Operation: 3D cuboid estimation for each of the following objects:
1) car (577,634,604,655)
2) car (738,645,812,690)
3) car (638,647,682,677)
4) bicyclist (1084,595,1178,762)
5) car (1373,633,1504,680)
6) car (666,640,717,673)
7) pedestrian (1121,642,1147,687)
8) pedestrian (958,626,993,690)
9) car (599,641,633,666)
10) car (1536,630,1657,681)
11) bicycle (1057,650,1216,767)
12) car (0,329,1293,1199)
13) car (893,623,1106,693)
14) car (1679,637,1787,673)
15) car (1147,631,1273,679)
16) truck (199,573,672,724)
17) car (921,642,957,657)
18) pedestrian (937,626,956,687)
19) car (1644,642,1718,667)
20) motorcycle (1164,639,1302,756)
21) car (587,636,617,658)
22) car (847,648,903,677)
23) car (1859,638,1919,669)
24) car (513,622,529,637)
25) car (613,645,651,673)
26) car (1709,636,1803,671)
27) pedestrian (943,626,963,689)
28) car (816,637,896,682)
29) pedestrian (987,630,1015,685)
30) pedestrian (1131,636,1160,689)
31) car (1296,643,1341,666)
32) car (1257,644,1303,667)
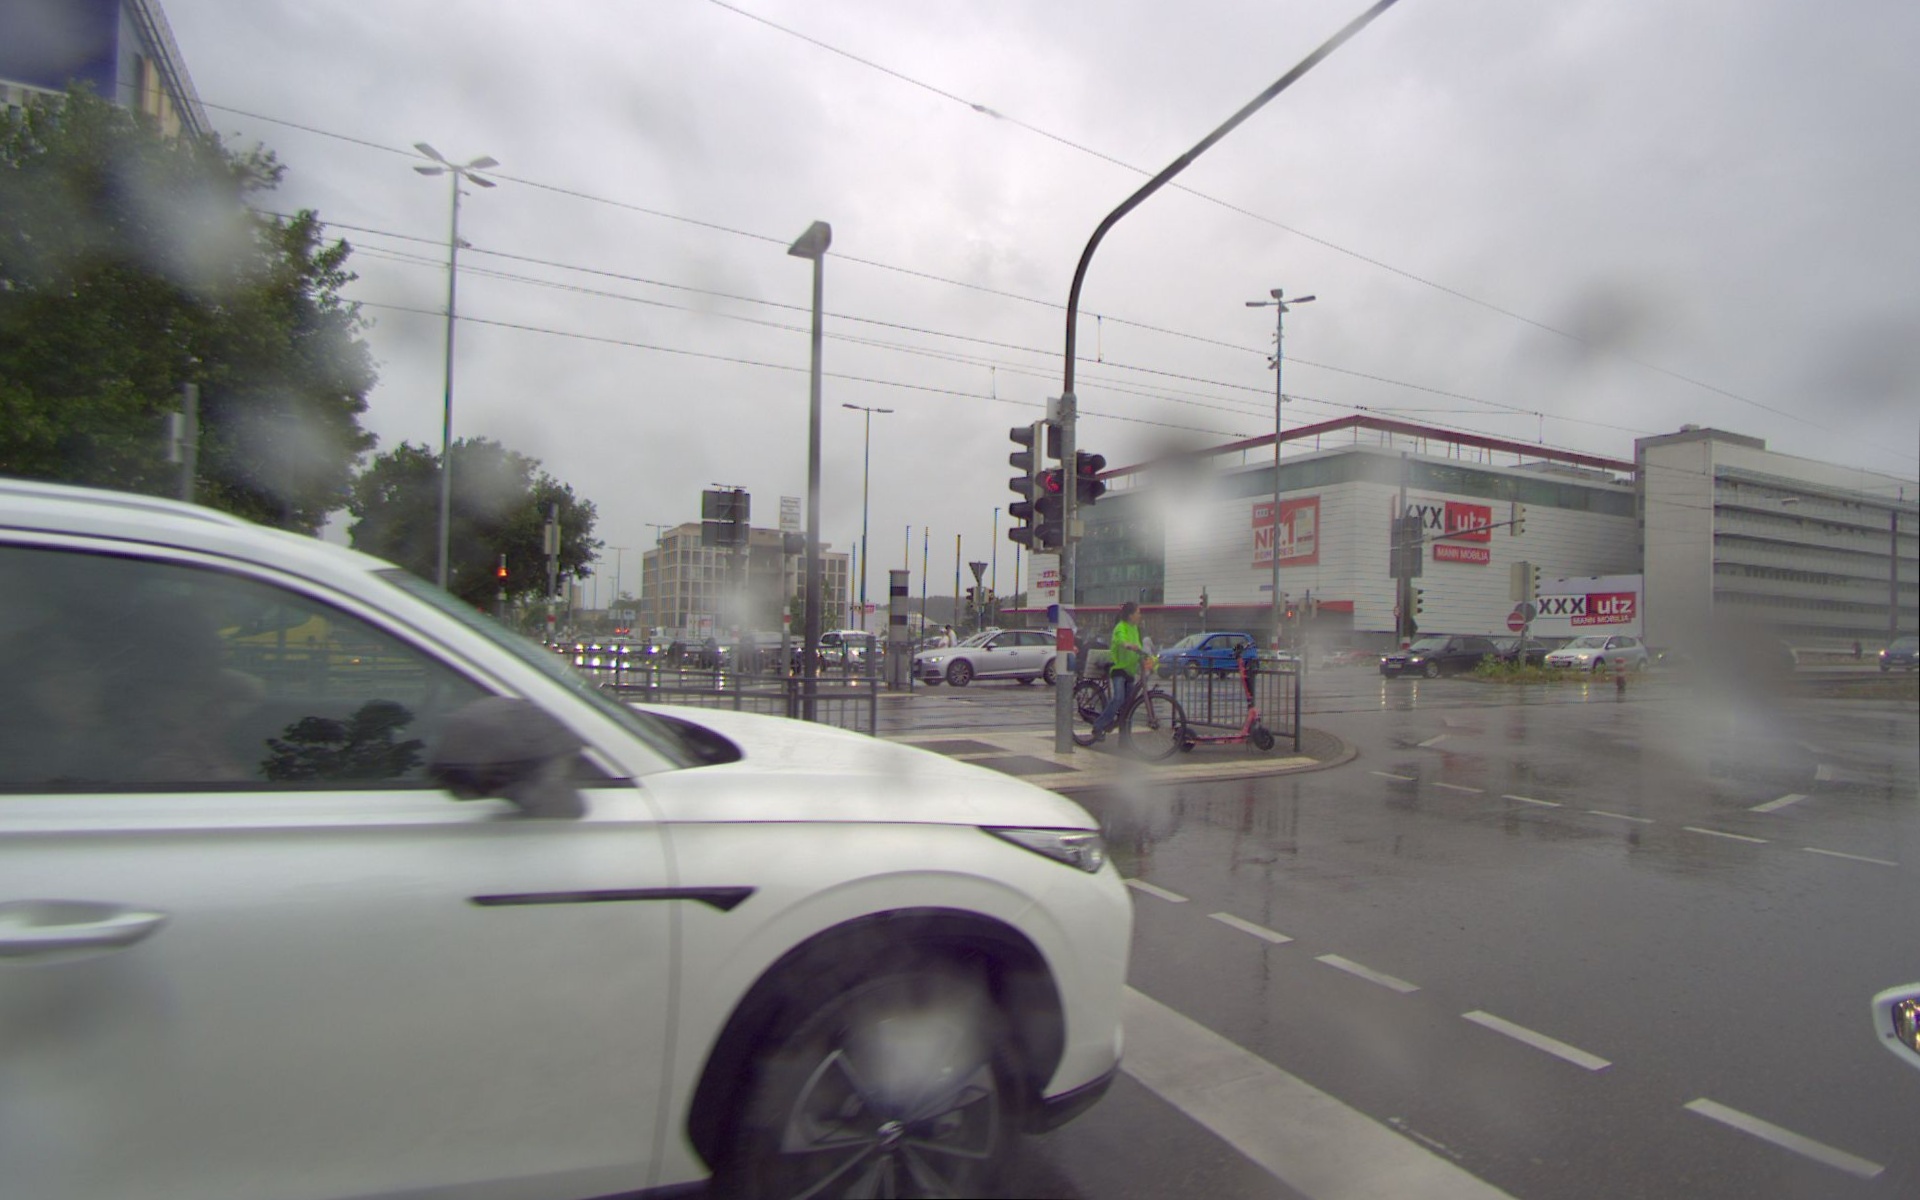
[{"bbox_3d":[-33.516,4.027,91.110,1.796,1.562,4.259,-1,2,-27],"label":"car"},{"bbox_3d":[-7.451,2.633,40.069,1.796,1.561,4.260,0,-1,-27],"label":"car"},{"bbox_3d":[-17.854,3.634,59.581,1.796,1.561,4.260,0,-1,-27],"label":"car"},{"bbox_3d":[1.882,0.836,11.093,0.784,1.755,0.613,0,2,-32],"label":"bicyclist"},{"bbox_3d":[15.659,1.815,32.837,4.143,1.385,1.577,1,1,-25],"label":"car"},{"bbox_3d":[-14.110,2.942,52.665,1.796,1.561,4.260,0,-1,-27],"label":"car"},{"bbox_3d":[7.267,2.676,41.935,0.761,1.842,0.708,2,0,-36],"label":"pedestrian"},{"bbox_3d":[0.579,2.155,37.430,0.973,2.274,0.918,4,0,-16],"label":"pedestrian"},{"bbox_3d":[-25.526,3.907,74.408,1.796,1.561,4.259,0,1,-27],"label":"car"},{"bbox_3d":[23.423,1.994,36.950,4.369,1.731,1.706,1,1,-26],"label":"car"},{"bbox_3d":[1.877,1.129,10.967,0.662,1.022,1.856,0,1,-30],"label":"bicycle"},{"bbox_3d":[-1.599,0.538,2.300,4.499,1.812,1.979,2,0,-30],"label":"car"},{"bbox_3d":[1.066,1.430,26.237,5.293,1.588,1.986,1,1,-27],"label":"car"},{"bbox_3d":[30.661,2.164,39.845,3.991,1.266,1.707,1,1,-24],"label":"car"},{"bbox_3d":[8.168,1.757,32.810,3.862,1.433,1.577,1,1,-26],"label":"car"},{"bbox_3d":[-11.495,1.175,23.075,8.973,2.886,2.732,4,-1,-25],"label":"truck"},{"bbox_3d":[-2.514,5.928,120.649,3.959,1.582,1.751,2,0,-29],"label":"car"},{"bbox_3d":[-0.465,1.958,34.919,0.615,2.041,0.695,1,1,2],"label":"pedestrian"},{"bbox_3d":[41.566,3.112,57.877,3.991,1.266,1.707,1,1,-24],"label":"car"},{"bbox_3d":[3.033,1.071,11.198,1.376,1.238,0.527,1,1,-9],"label":"motorcycle"},{"bbox_3d":[-29.566,3.817,82.875,1.796,1.561,4.259,0,1,-27],"label":"car"},{"bbox_3d":[-5.201,3.771,60.868,2.010,1.425,4.194,2,0,-26],"label":"car"},{"bbox_3d":[45.213,2.542,48.219,4.406,1.266,1.705,1,1,-29],"label":"car"},{"bbox_3d":[-67.430,4.545,154.368,1.975,2.040,3.972,2,0,-27],"label":"car"},{"bbox_3d":[-22.212,3.978,67.967,1.796,1.561,4.259,0,1,-27],"label":"car"},{"bbox_3d":[38.212,2.530,48.193,4.653,1.455,1.805,1,1,-28],"label":"car"},{"bbox_3d":[-0.238,2.016,35.524,0.620,2.164,0.571,1,1,3],"label":"pedestrian"},{"bbox_3d":[-4.322,2.379,41.149,1.796,1.561,4.433,0,0,-27],"label":"car"},{"bbox_3d":[1.552,2.184,38.473,0.843,2.040,0.783,2,0,-12],"label":"pedestrian"},{"bbox_3d":[7.303,2.454,39.524,0.850,2.040,0.689,2,0,-36],"label":"pedestrian"},{"bbox_3d":[34.482,5.205,96.585,3.956,2.040,1.982,2,1,-32],"label":"car"},{"bbox_3d":[29.853,5.180,93.755,3.956,2.040,1.982,2,1,-32],"label":"car"}]
